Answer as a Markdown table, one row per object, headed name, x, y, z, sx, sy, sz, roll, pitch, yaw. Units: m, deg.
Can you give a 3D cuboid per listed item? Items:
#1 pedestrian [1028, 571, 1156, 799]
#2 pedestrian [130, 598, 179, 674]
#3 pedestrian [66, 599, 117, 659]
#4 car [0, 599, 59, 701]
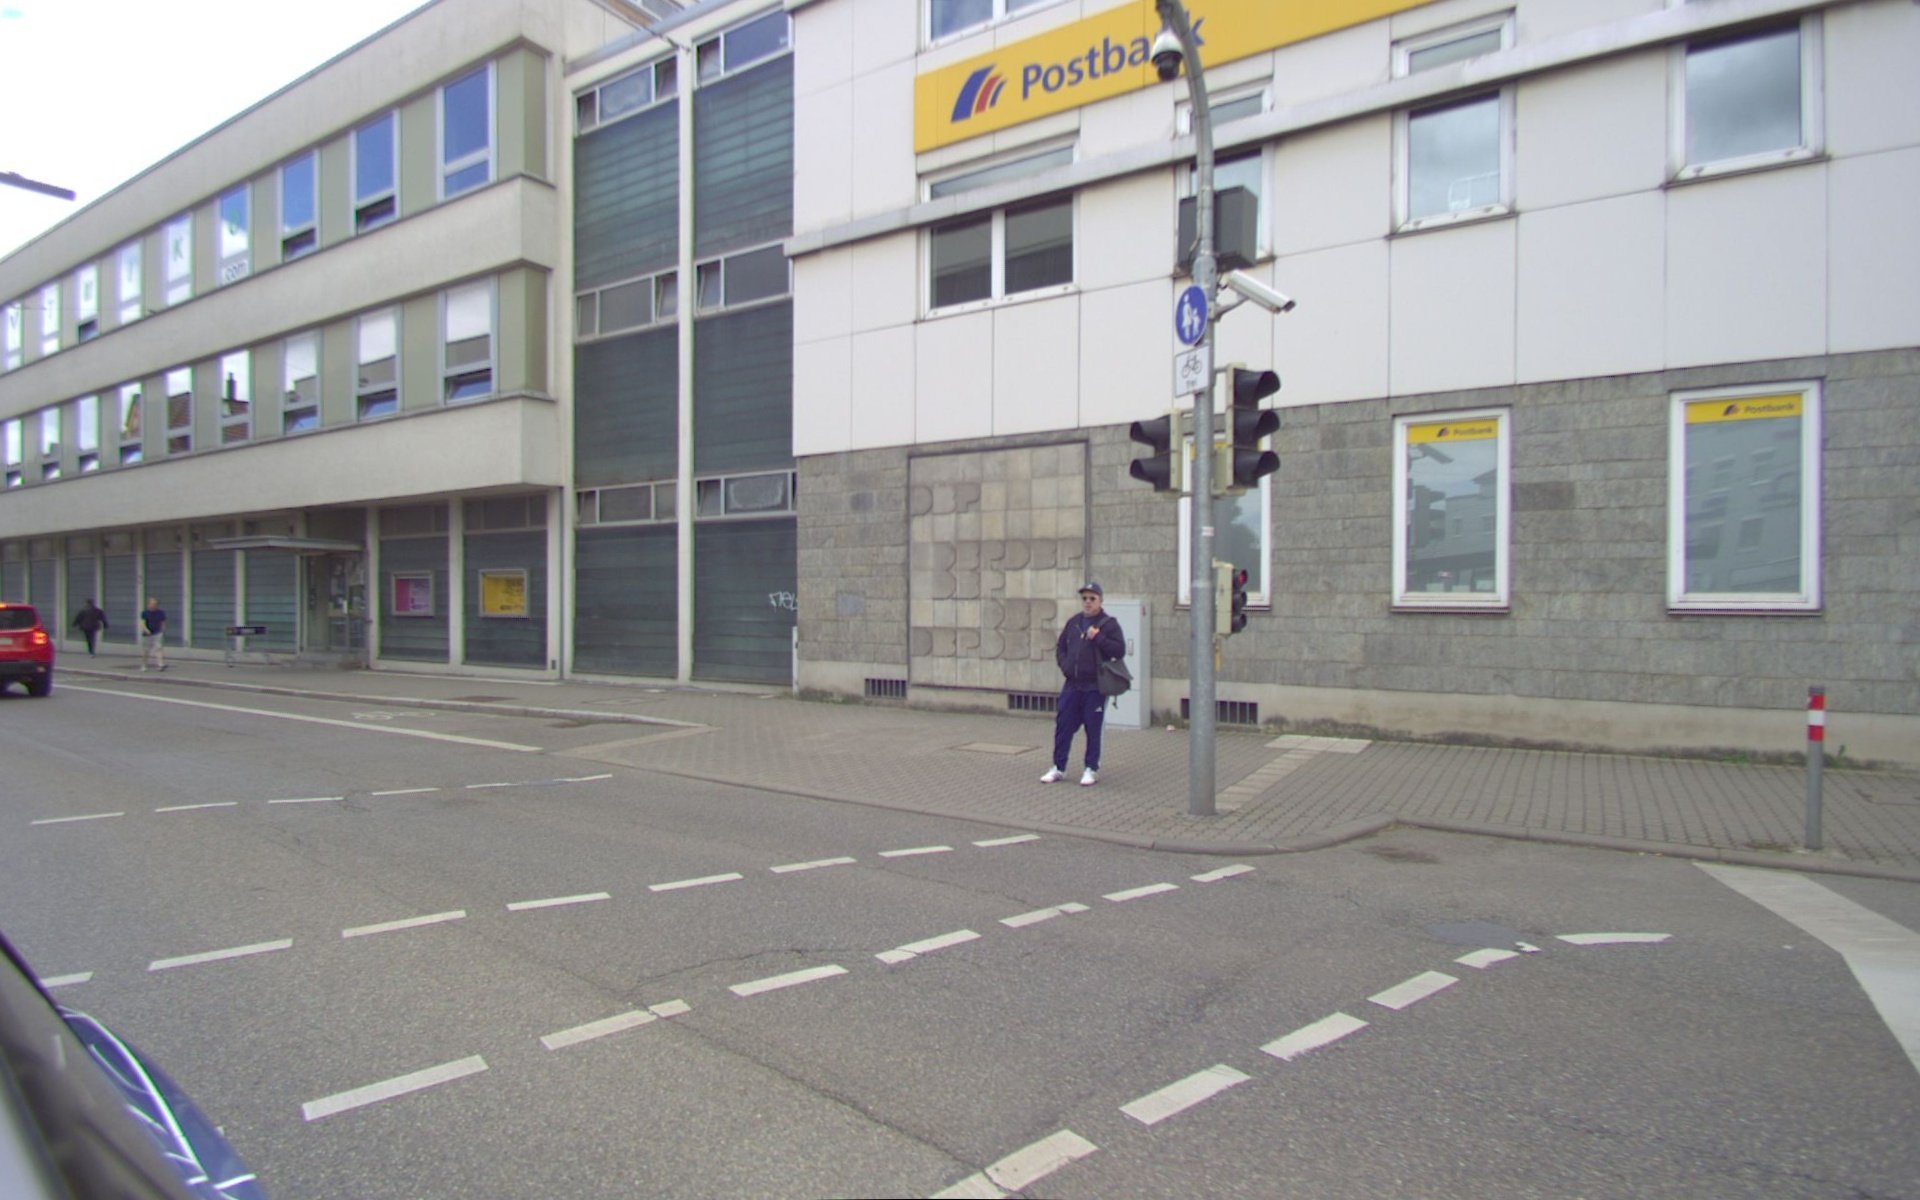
| name | x | y | z | sx | sy | sz | roll | pitch | yaw |
| --- | --- | --- | --- | --- | --- | --- | --- | --- | --- |
| pedestrian | 1.069 | 0.641 | 8.193 | 0.782 | 1.731 | 0.641 | -1 | 1 | 40 |
| pedestrian | -18.861 | 0.831 | 23.693 | 1.051 | 1.731 | 0.585 | -1 | -1 | 31 |
| pedestrian | -25.739 | 0.846 | 29.998 | 1.028 | 1.731 | 0.855 | -1 | 1 | 31 |
| car | -17.765 | 0.852 | 17.934 | 3.887 | 1.707 | 1.784 | -1 | -1 | 34 |
